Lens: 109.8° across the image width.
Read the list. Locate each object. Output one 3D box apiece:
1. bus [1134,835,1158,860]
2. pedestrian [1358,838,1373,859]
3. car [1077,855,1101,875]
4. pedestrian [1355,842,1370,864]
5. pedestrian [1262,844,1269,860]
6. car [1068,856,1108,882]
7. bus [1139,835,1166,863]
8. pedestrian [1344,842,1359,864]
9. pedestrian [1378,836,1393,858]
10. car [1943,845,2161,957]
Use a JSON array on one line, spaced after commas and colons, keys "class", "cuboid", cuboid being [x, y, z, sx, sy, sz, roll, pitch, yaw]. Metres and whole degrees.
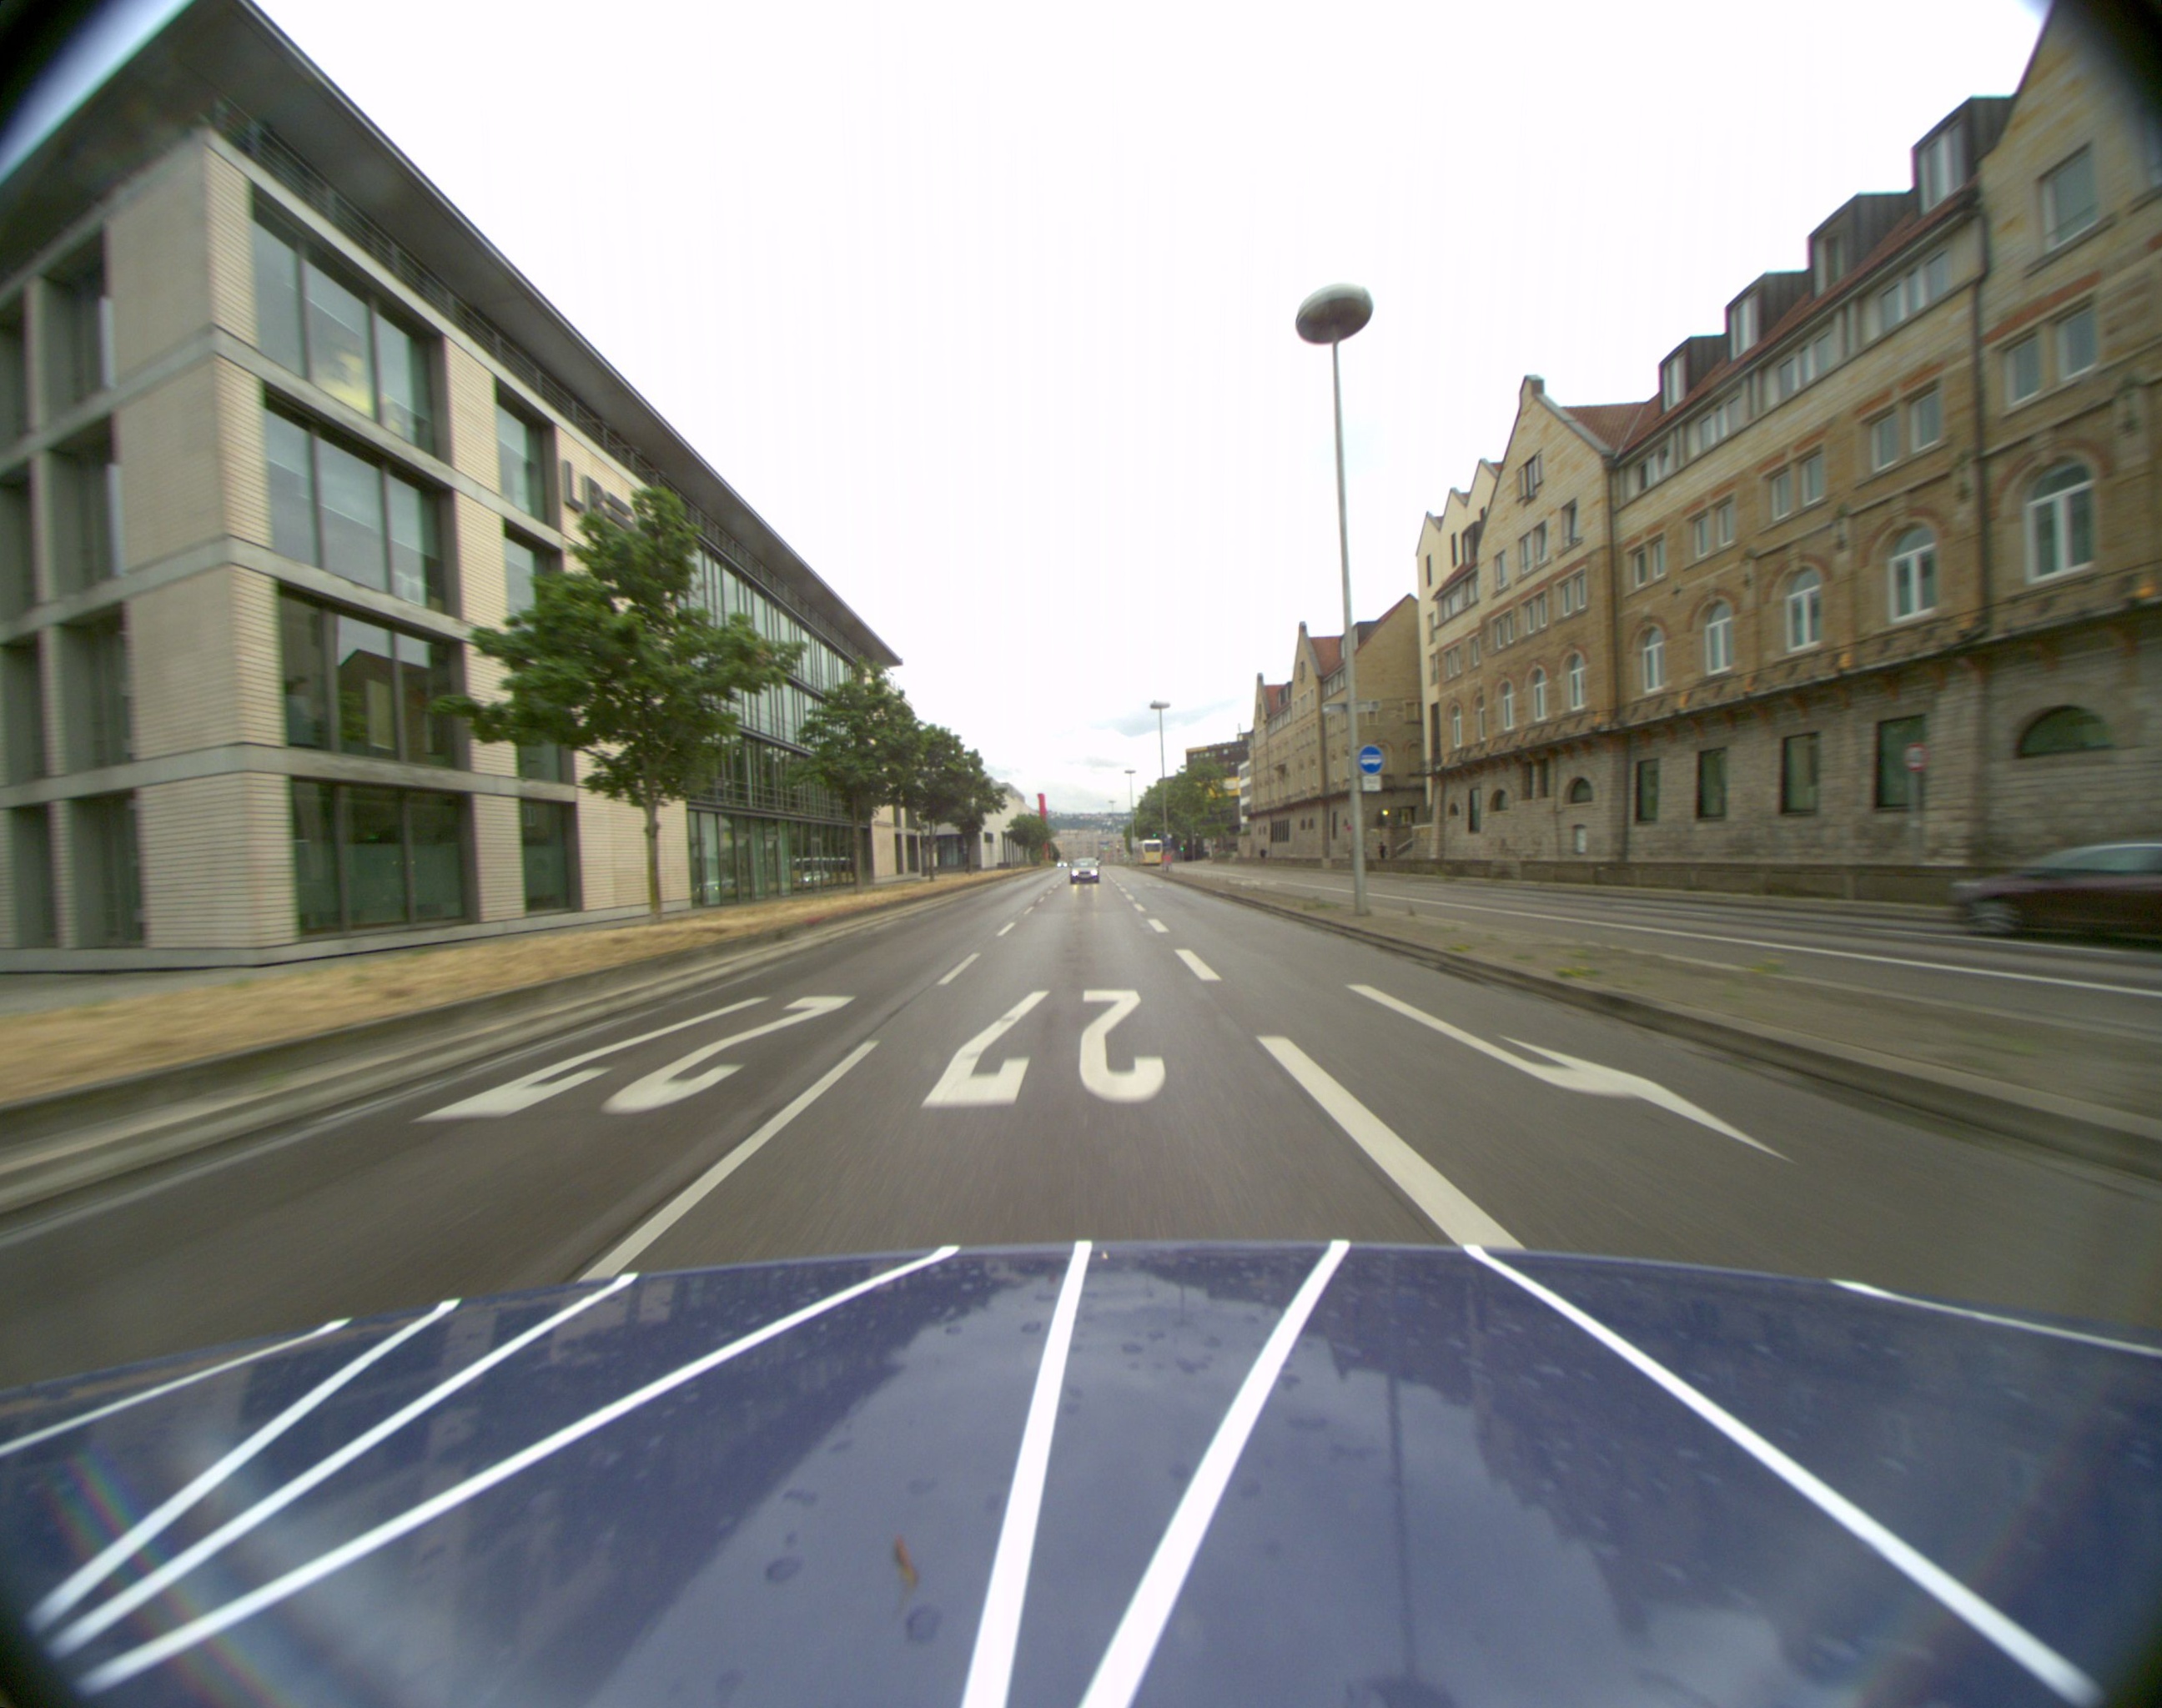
[{"class": "bus", "cuboid": [9.638, -0.871, 113.898, 2.705, 3.538, 10.094, -1, 0, 0]}, {"class": "pedestrian", "cuboid": [20.414, -0.411, 54.478, 0.756, 1.469, 0.714, -1, -1, 0]}, {"class": "car", "cuboid": [0.620, 0.876, 62.635, 1.863, 1.449, 4.204, -2, 0, -1]}, {"class": "pedestrian", "cuboid": [19.586, -0.053, 52.829, 0.756, 1.469, 0.714, -1, -1, 0]}, {"class": "pedestrian", "cuboid": [20.799, -0.197, 85.635, 0.642, 1.735, 0.621, -1, -1, 6]}, {"class": "car", "cuboid": [0.487, 0.877, 45.433, 1.862, 1.428, 4.207, -1, 0, 7]}, {"class": "bus", "cuboid": [9.688, -0.750, 103.849, 2.705, 3.539, 10.091, -1, 1, 0]}, {"class": "pedestrian", "cuboid": [18.802, -0.067, 52.831, 0.756, 1.469, 0.714, -1, -1, 0]}, {"class": "pedestrian", "cuboid": [20.988, -0.463, 52.392, 0.756, 1.469, 0.714, -1, -1, 0]}, {"class": "car", "cuboid": [14.522, 0.587, 10.153, 1.752, 1.399, 3.725, -1, 0, 0]}]
